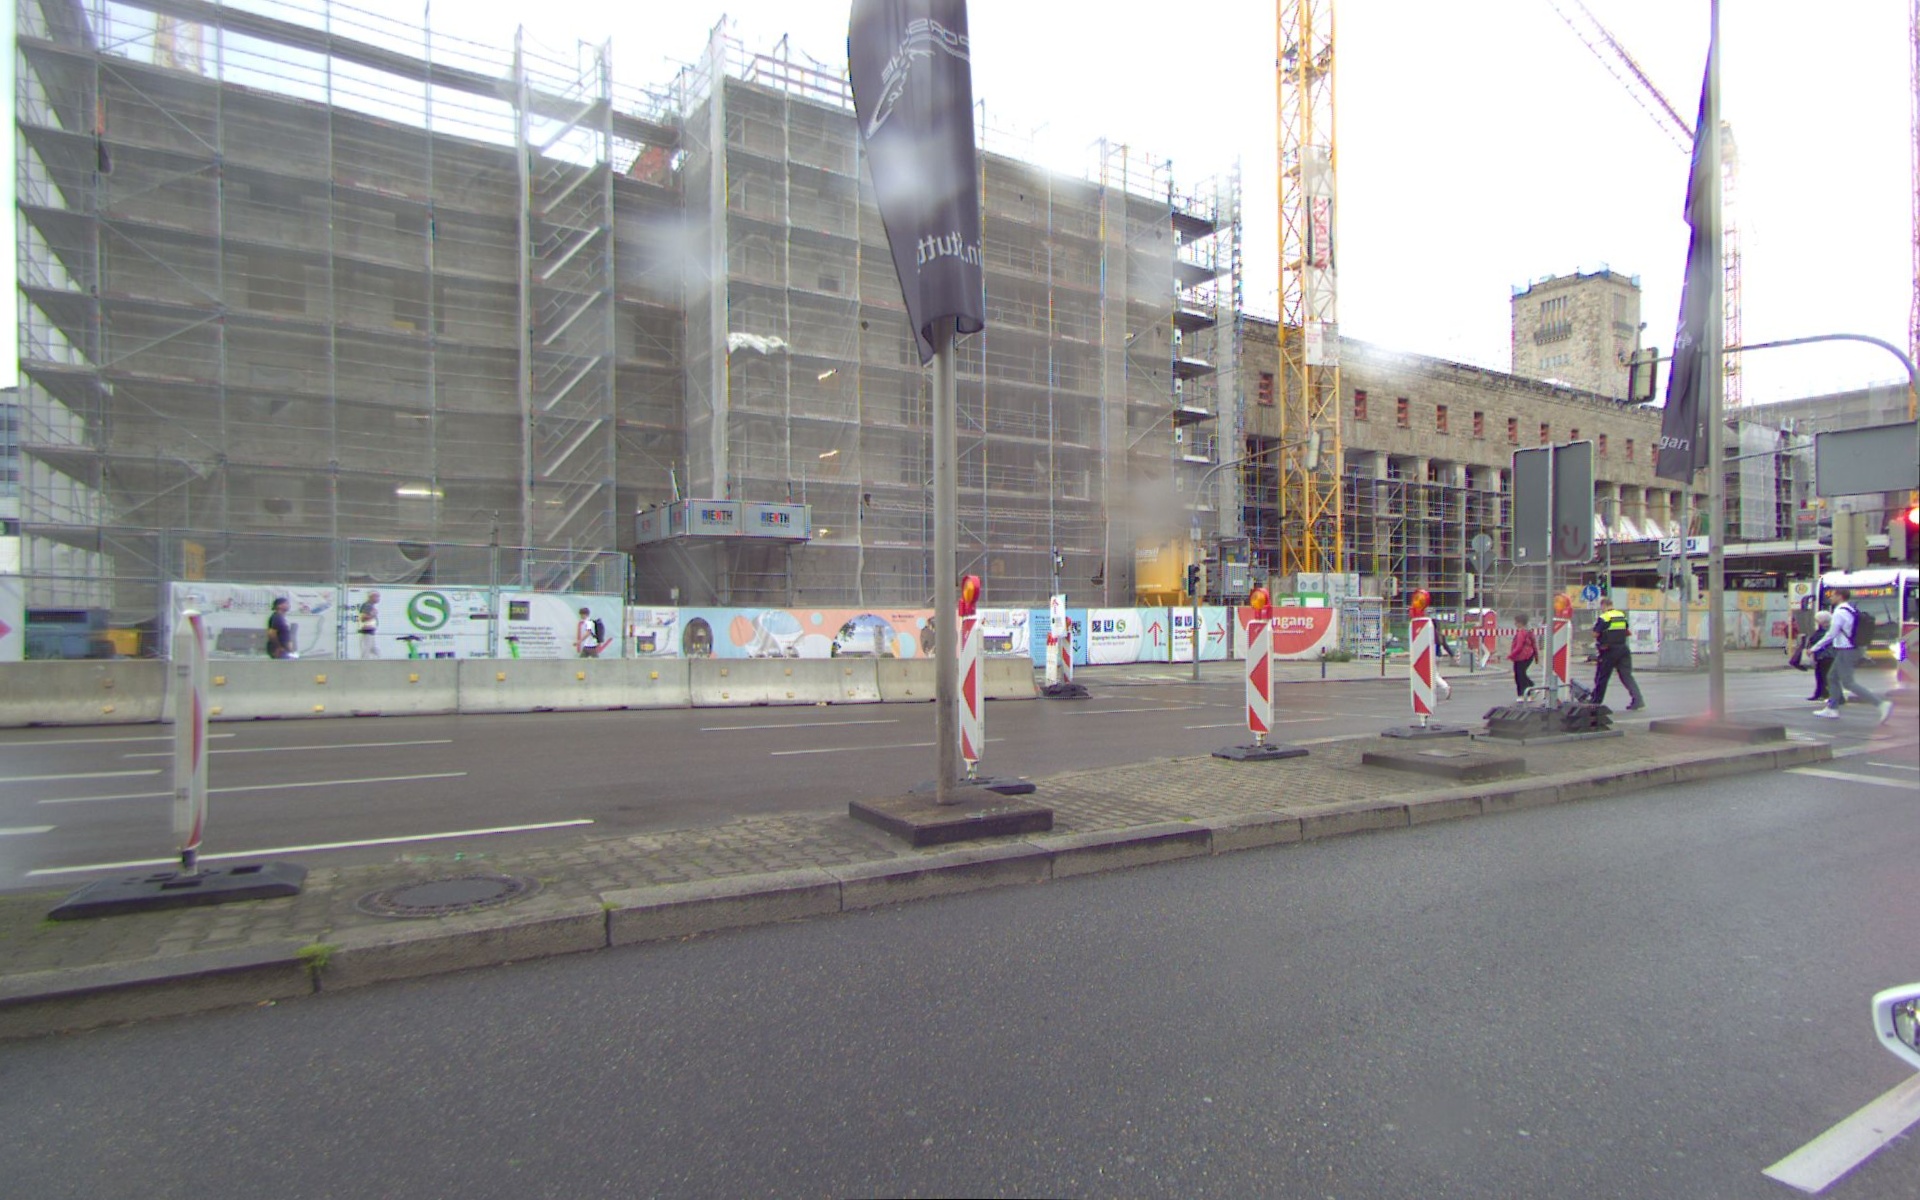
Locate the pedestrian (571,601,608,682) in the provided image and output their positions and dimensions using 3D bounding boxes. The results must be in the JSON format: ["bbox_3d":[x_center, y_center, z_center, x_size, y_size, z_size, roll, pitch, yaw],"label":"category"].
[{"bbox_3d":[-8.656,0.958,23.457,0.709,1.860,0.478,1,0,-30],"label":"pedestrian"}]

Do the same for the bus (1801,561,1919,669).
[{"bbox_3d":[35.387,0.609,37.629,10.119,3.650,2.655,2,0,-30],"label":"bus"}]

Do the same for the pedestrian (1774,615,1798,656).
[{"bbox_3d":[38.979,1.671,47.408,0.789,1.879,0.658,1,-1,-30],"label":"pedestrian"}]

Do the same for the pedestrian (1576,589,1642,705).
[{"bbox_3d":[10.727,0.761,16.601,0.810,1.860,0.575,1,0,-30],"label":"pedestrian"}]

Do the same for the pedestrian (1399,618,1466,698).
[{"bbox_3d":[9.751,1.180,20.741,0.890,1.584,0.909,1,0,-33],"label":"pedestrian"}]

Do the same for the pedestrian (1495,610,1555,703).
[{"bbox_3d":[10.936,1.088,19.448,0.613,1.740,0.794,1,-2,-33],"label":"pedestrian"}]

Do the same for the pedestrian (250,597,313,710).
[{"bbox_3d":[-11.531,0.892,17.100,0.810,1.860,0.575,1,0,-30],"label":"pedestrian"}]

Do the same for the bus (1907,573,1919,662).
[{"bbox_3d":[44.044,0.864,42.762,10.092,3.650,2.655,2,0,-30],"label":"bus"}]

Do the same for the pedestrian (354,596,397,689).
[{"bbox_3d":[-11.846,0.856,20.380,0.709,1.860,0.478,1,0,-30],"label":"pedestrian"}]

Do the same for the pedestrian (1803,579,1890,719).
[{"bbox_3d":[12.572,0.669,14.250,0.614,1.915,0.793,1,0,-38],"label":"pedestrian"}]

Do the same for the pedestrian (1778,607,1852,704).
[{"bbox_3d":[14.618,0.923,17.171,0.782,1.581,0.864,1,0,-44],"label":"pedestrian"}]
